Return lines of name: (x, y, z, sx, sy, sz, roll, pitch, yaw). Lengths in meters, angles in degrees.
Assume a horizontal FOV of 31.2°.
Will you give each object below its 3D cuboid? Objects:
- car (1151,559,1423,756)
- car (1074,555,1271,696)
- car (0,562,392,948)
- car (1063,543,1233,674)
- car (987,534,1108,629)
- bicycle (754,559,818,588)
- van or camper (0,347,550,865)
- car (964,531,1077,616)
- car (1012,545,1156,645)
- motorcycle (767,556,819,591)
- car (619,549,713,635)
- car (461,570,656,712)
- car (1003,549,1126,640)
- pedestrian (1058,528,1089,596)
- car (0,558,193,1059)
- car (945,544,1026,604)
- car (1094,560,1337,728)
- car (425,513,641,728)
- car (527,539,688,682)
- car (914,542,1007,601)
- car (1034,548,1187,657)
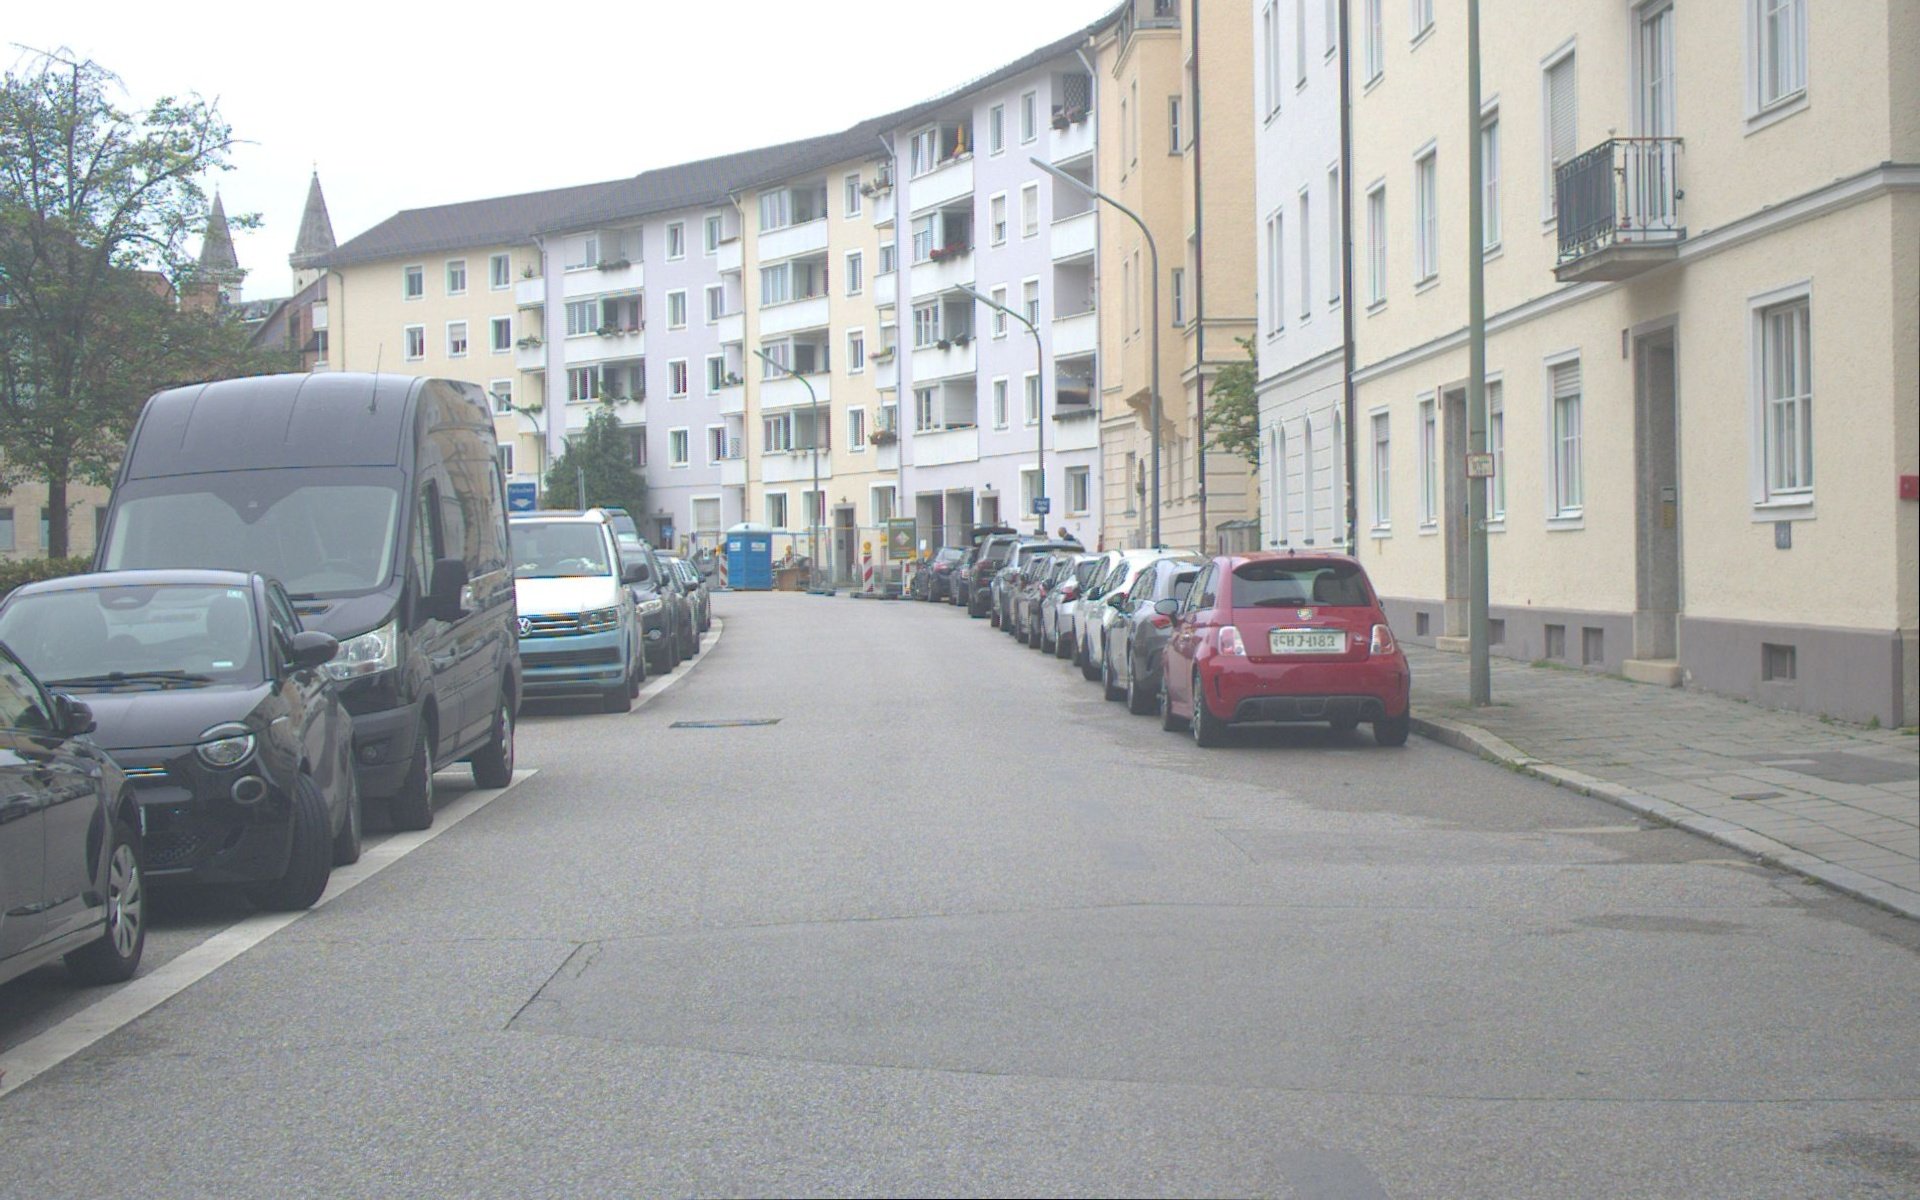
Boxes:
car: (2.542, 0.409, 27.511, 1.654, 1.425, 3.756, 0, 1, -3)
car: (2.294, 0.240, 38.059, 1.724, 1.425, 4.294, 0, 1, -3)
car: (-3.666, 0.616, 15.946, 1.652, 1.492, 3.910, -3, 1, -5)
car: (2.315, 0.072, 43.135, 1.650, 1.538, 3.994, 0, 1, -4)
car: (1.565, -0.365, 63.103, 1.846, 1.658, 4.499, 0, 1, -3)
bicycle: (-6.586, -0.998, 130.063, 2.232, 1.066, 0.919, -1, 1, -26)
van or camper: (-4.048, -0.013, 20.966, 2.293, 2.642, 5.561, -3, 1, 0)
car: (1.251, -0.593, 73.362, 2.169, 1.733, 5.024, 0, 1, -2)
car: (1.865, -0.106, 53.090, 1.875, 1.445, 4.678, 0, 1, -2)
motorcycle: (-5.933, -0.956, 122.055, 0.931, 1.217, 2.507, -1, 1, -26)
car: (-5.574, -0.183, 65.602, 1.630, 1.489, 4.276, -3, 1, -4)
car: (-4.488, 0.426, 38.914, 1.804, 1.402, 3.709, -3, 1, -2)
car: (1.740, -0.122, 58.246, 1.827, 1.445, 4.084, 0, 1, -2)
pedestrian: (2.906, -0.970, 88.108, 0.617, 1.684, 0.919, -4, 1, -2)
car: (-3.742, 0.625, 11.343, 1.675, 1.431, 4.287, -3, 1, -4)
car: (0.590, -0.648, 83.561, 1.630, 1.412, 3.680, 0, 1, -5)
car: (2.335, 0.363, 32.487, 1.773, 1.425, 4.616, 0, 1, -2)
car: (-4.138, 0.135, 33.961, 1.914, 1.953, 4.962, 0, 1, -5)
car: (-4.487, 0.090, 44.256, 1.714, 1.683, 4.141, -2, 1, -2)
car: (-0.014, -0.770, 89.815, 1.908, 1.472, 4.947, 0, 1, -6)
car: (2.071, 0.003, 48.307, 1.724, 1.445, 4.188, 0, 1, -3)
